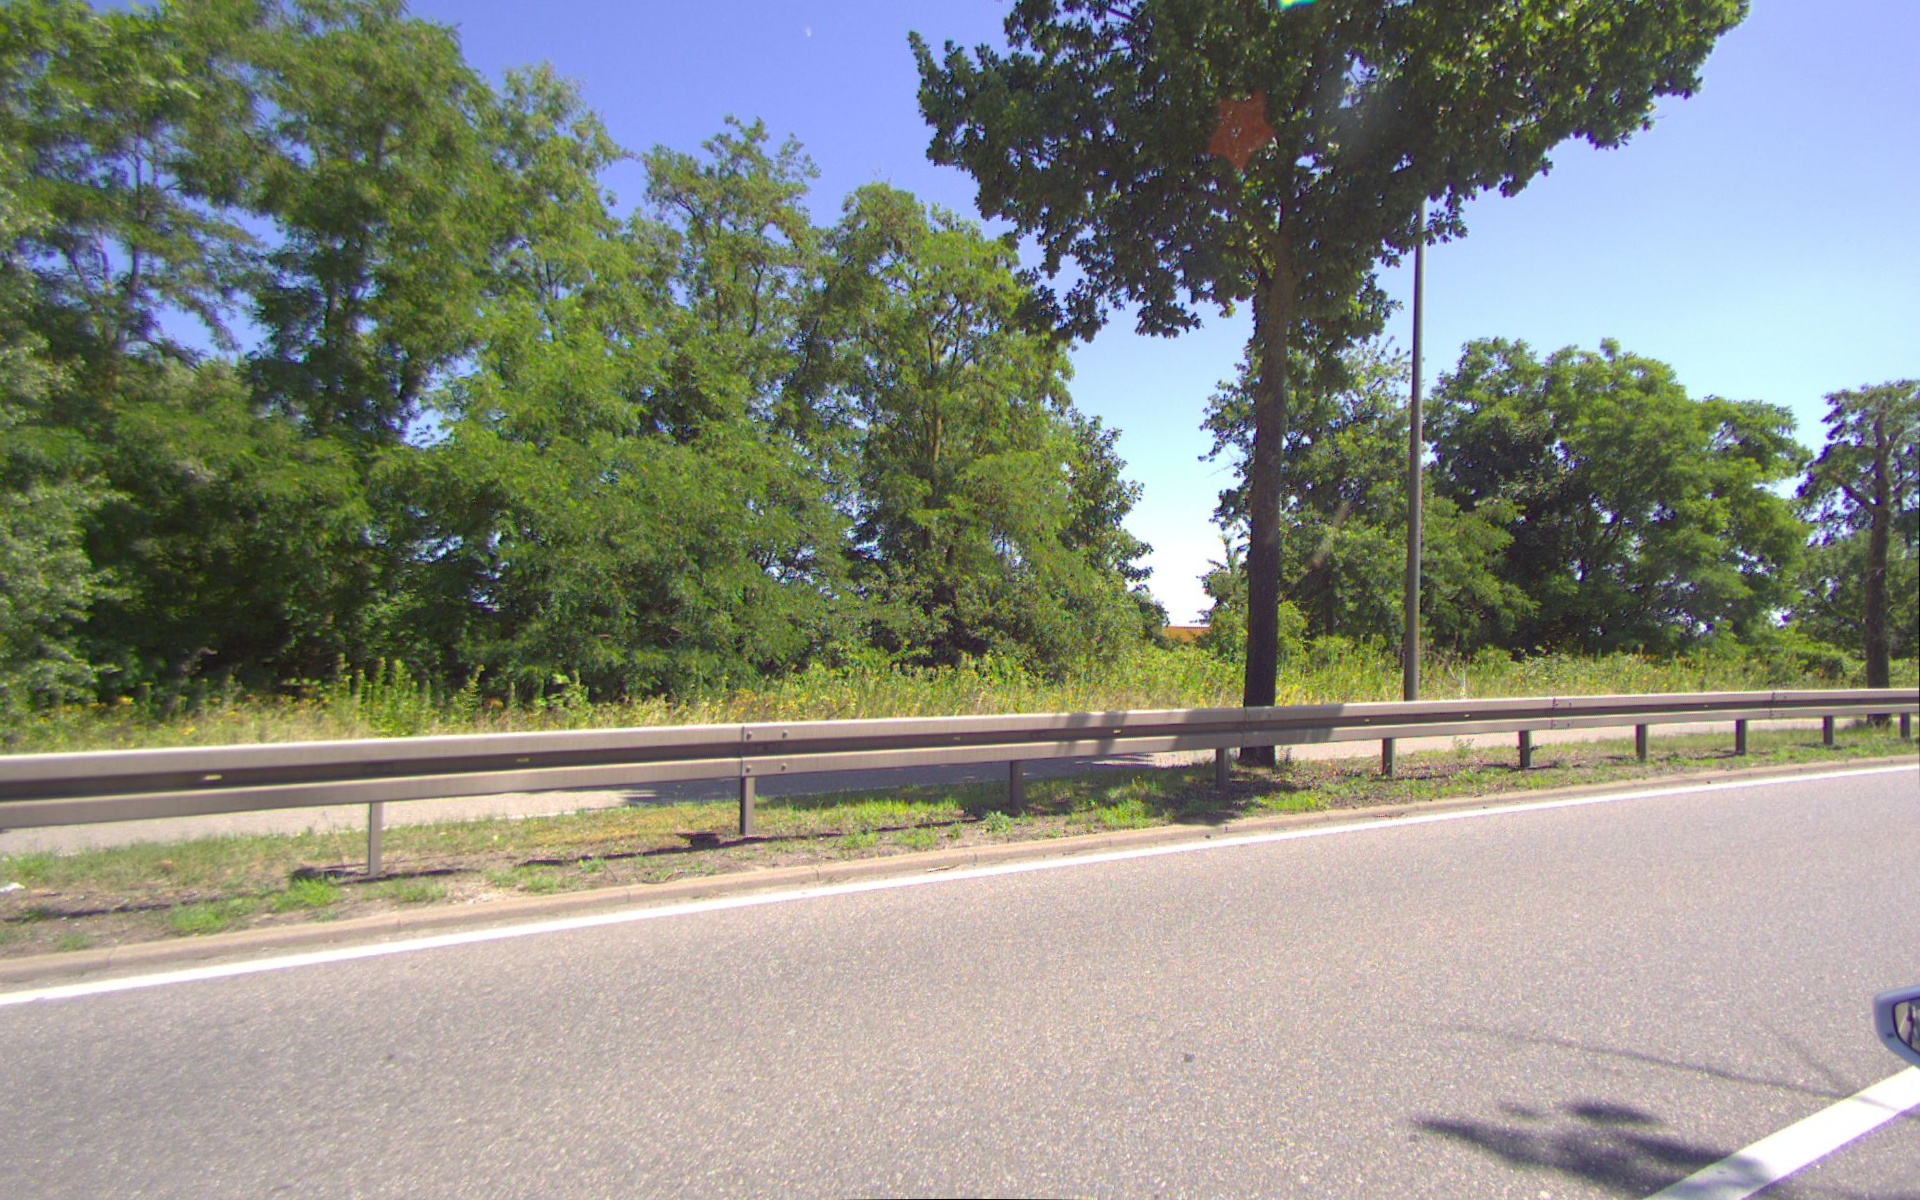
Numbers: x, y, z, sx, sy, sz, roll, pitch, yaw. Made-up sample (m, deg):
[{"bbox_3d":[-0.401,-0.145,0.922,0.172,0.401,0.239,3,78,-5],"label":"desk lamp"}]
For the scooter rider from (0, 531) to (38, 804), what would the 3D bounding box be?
[{"bbox_3d":[-6.433,0.400,6.030,1.106,1.679,0.774,2,0,-27],"label":"scooter rider"}]

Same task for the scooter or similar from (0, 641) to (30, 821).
[{"bbox_3d":[-6.438,0.805,6.010,1.081,1.105,0.774,2,-1,-28],"label":"scooter or similar"}]
